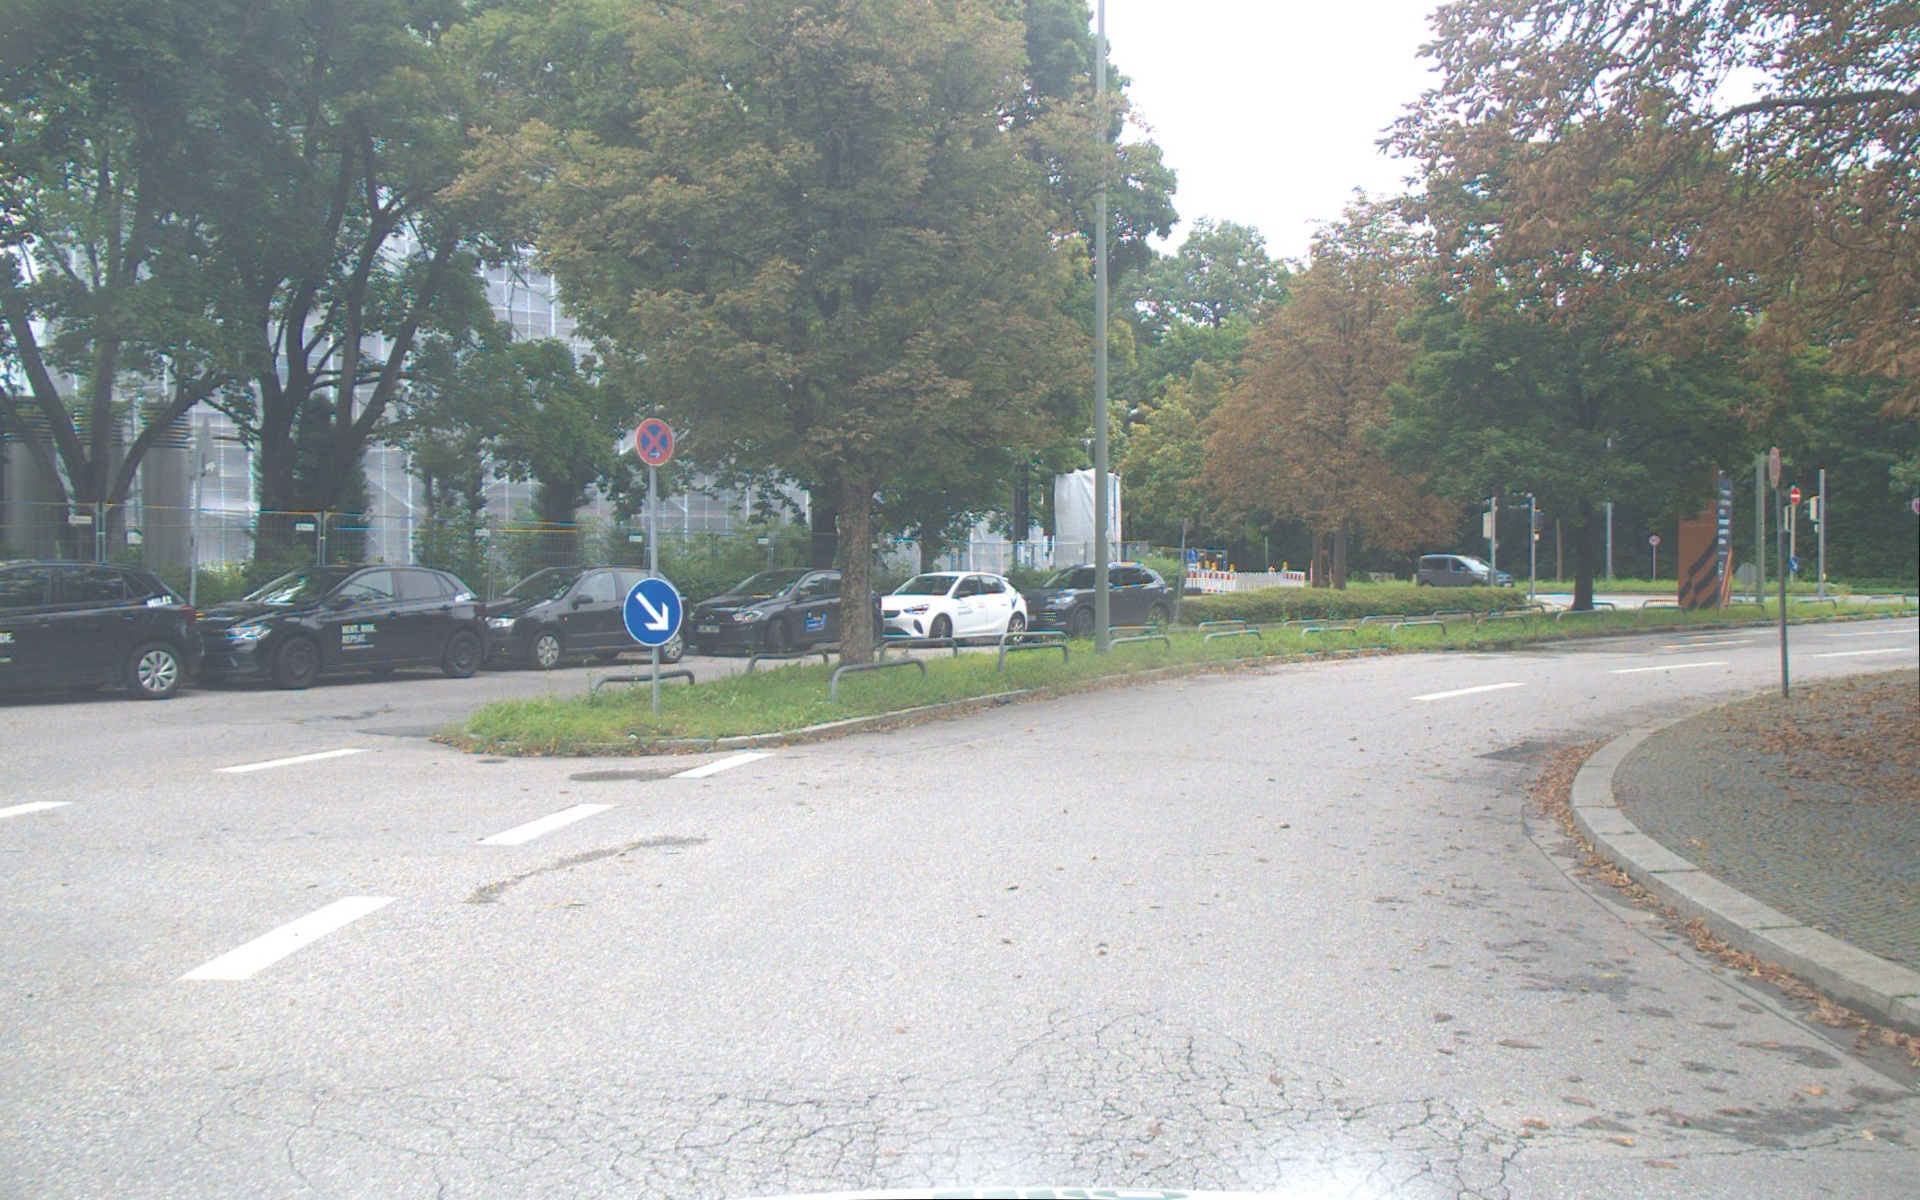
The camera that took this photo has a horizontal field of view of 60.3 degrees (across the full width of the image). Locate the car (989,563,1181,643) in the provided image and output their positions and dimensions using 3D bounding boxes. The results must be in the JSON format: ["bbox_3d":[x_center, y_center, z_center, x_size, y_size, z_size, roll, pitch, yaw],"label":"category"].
[{"bbox_3d":[2.781,0.103,36.003,1.859,1.634,4.367,0,-1,43],"label":"car"}]

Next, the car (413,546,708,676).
[{"bbox_3d":[-5.771,0.125,24.312,1.958,1.735,3.990,0,0,32],"label":"car"}]

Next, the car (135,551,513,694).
[{"bbox_3d":[-7.704,0.219,20.379,1.958,1.568,3.990,0,1,32],"label":"car"}]

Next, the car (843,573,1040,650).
[{"bbox_3d":[-0.289,0.183,32.485,1.765,1.408,4.204,0,0,35],"label":"car"}]

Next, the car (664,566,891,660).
[{"bbox_3d":[-3.057,0.193,28.463,1.801,1.486,3.995,0,0,32],"label":"car"}]

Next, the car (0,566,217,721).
[{"bbox_3d":[-9.967,0.403,16.782,1.958,1.457,4.031,3,2,33],"label":"car"}]

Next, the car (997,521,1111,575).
[{"bbox_3d":[6.239,-3.427,111.565,3.060,3.509,8.610,0,1,-36],"label":"car"}]

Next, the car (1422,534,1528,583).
[{"bbox_3d":[22.129,-1.773,71.165,1.980,2.049,3.946,-1,1,-38],"label":"car"}]
